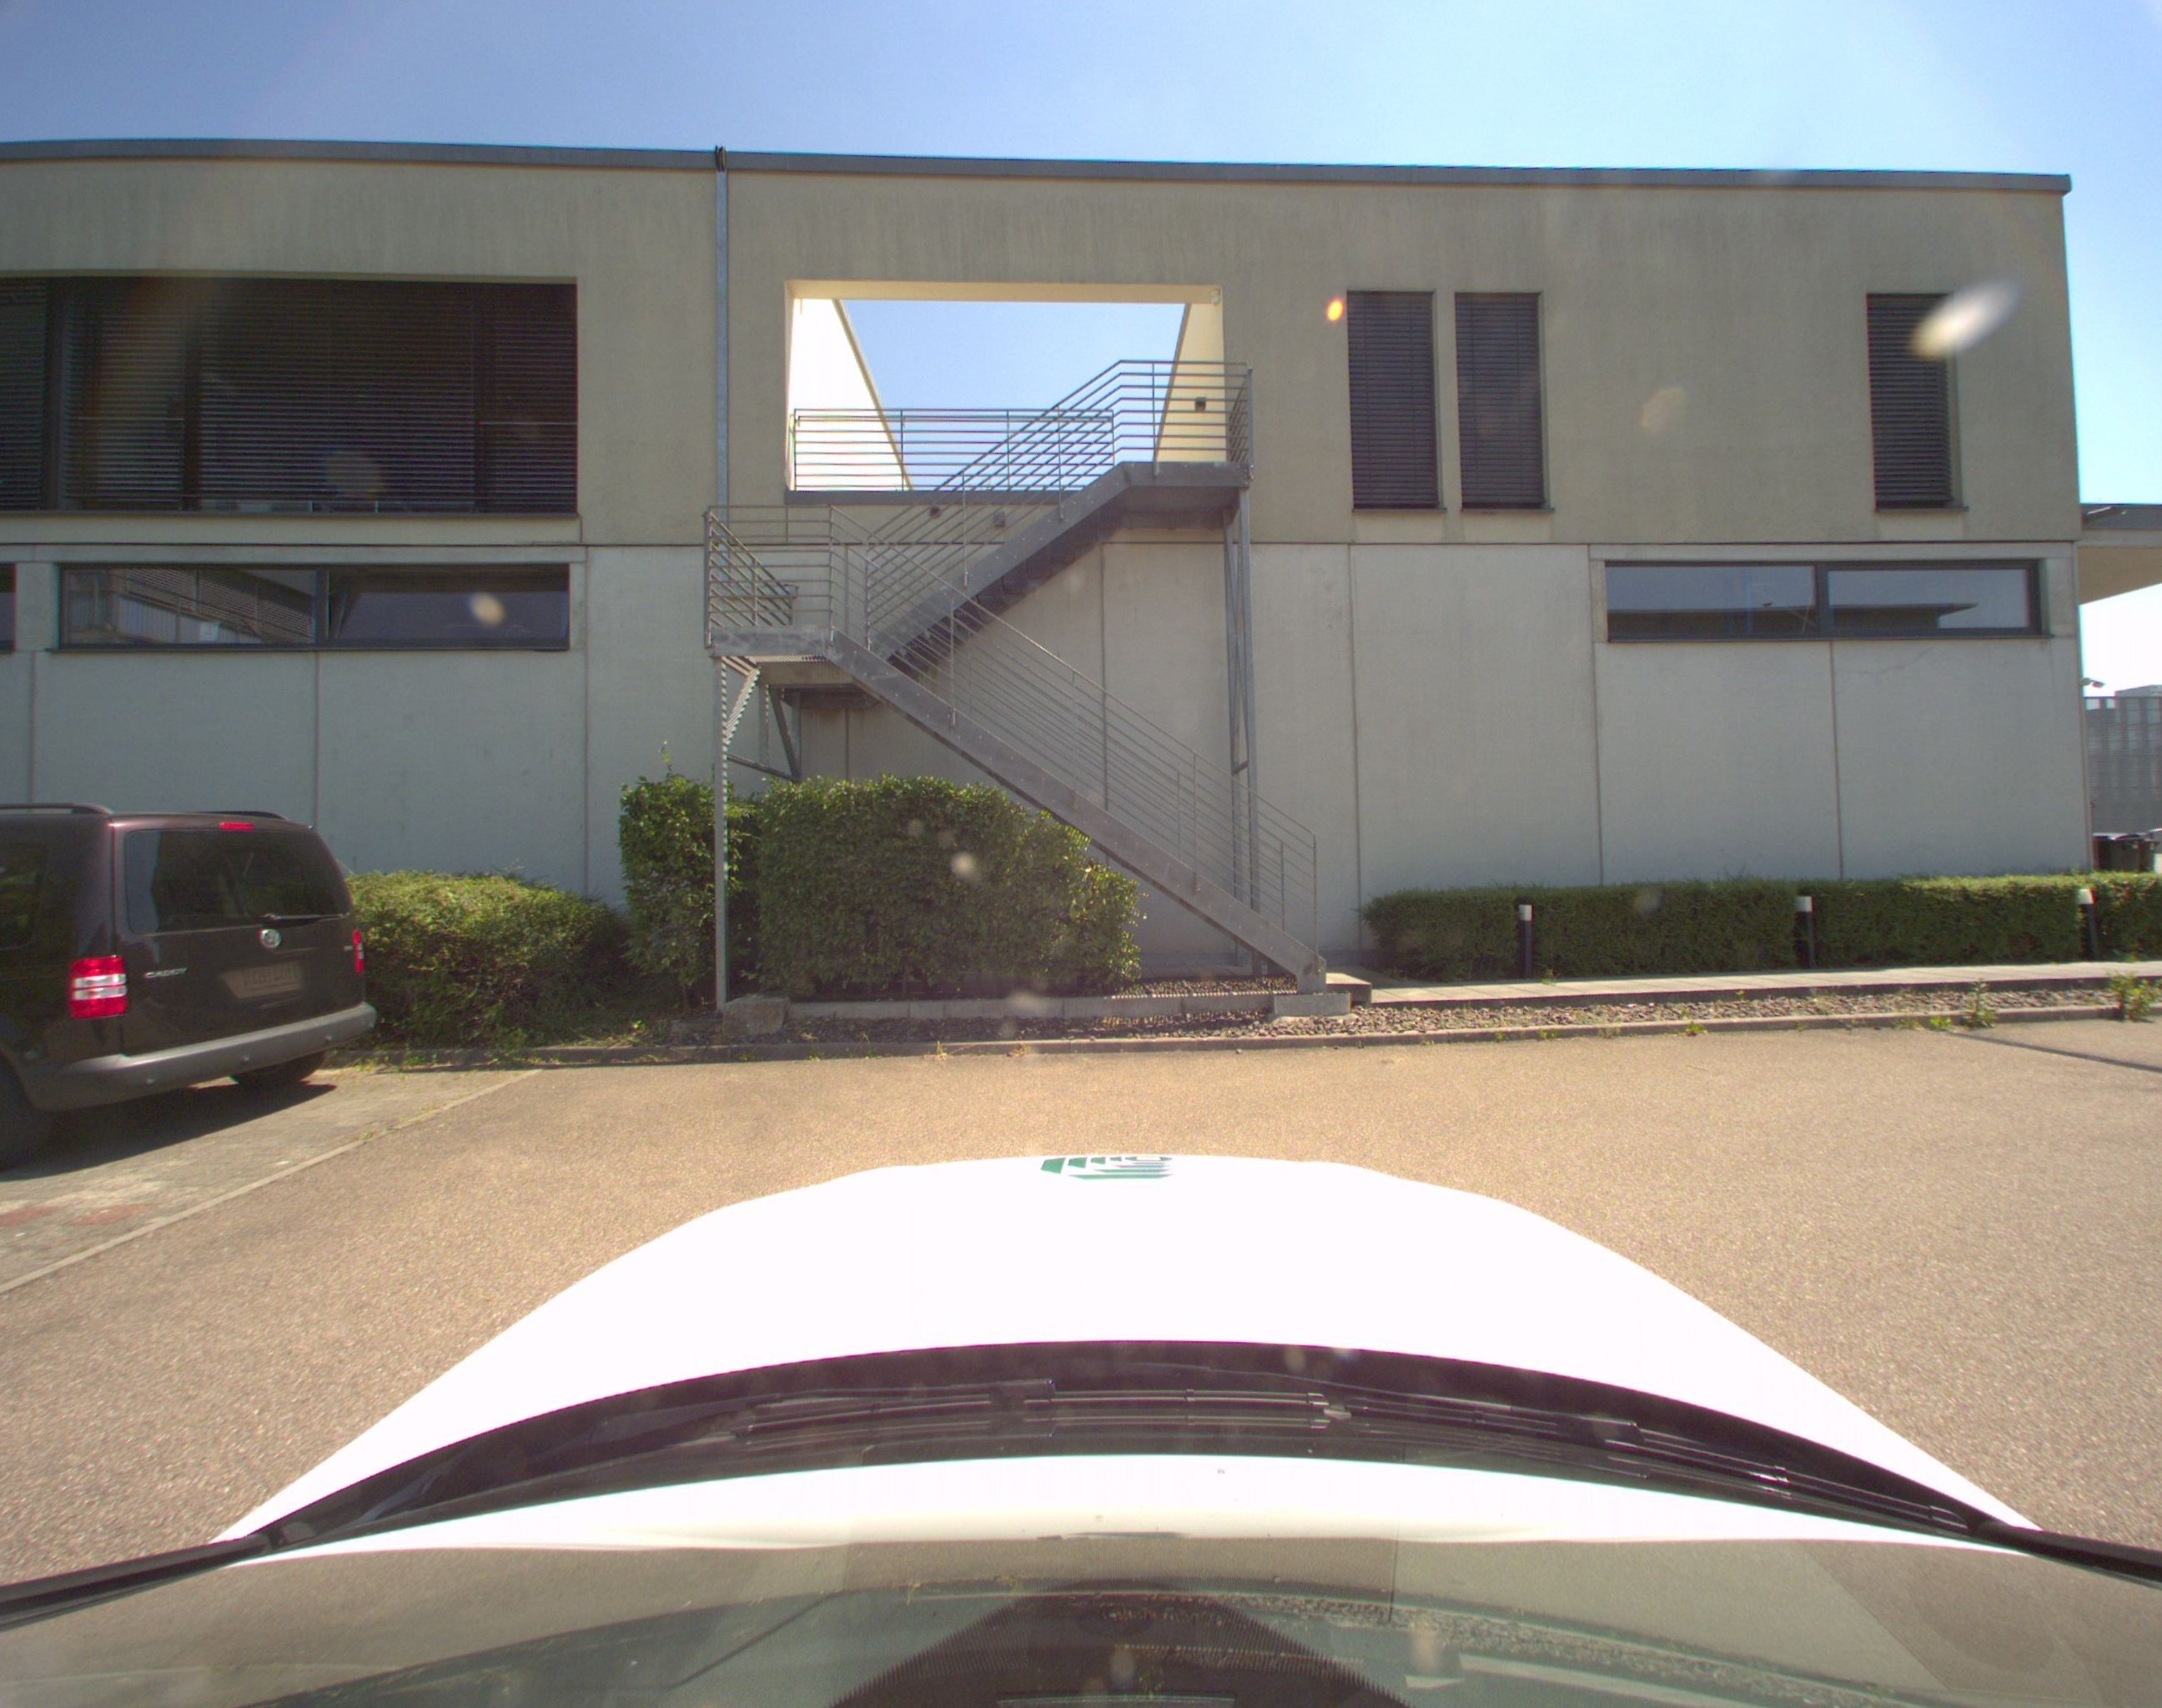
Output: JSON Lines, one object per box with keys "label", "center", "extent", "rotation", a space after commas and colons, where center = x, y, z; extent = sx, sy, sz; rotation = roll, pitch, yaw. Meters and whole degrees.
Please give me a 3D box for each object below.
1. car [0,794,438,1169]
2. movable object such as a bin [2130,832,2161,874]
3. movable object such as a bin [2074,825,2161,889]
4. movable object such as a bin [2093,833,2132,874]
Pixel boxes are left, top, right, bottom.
{"label": "car", "center": [-6.806, 0.675, 4.935], "extent": [4.205, 1.860, 1.867], "rotation": [-1, 0, -3]}
{"label": "movable object such as a bin", "center": [27.046, -0.018, 20.613], "extent": [0.427, 1.036, 0.572], "rotation": [-1, -1, -35]}
{"label": "movable object such as a bin", "center": [22.842, 0.064, 17.934], "extent": [0.877, 1.345, 0.814], "rotation": [-2, -1, 3]}
{"label": "movable object such as a bin", "center": [26.714, -0.008, 21.102], "extent": [0.427, 1.027, 0.575], "rotation": [-1, -1, -35]}
